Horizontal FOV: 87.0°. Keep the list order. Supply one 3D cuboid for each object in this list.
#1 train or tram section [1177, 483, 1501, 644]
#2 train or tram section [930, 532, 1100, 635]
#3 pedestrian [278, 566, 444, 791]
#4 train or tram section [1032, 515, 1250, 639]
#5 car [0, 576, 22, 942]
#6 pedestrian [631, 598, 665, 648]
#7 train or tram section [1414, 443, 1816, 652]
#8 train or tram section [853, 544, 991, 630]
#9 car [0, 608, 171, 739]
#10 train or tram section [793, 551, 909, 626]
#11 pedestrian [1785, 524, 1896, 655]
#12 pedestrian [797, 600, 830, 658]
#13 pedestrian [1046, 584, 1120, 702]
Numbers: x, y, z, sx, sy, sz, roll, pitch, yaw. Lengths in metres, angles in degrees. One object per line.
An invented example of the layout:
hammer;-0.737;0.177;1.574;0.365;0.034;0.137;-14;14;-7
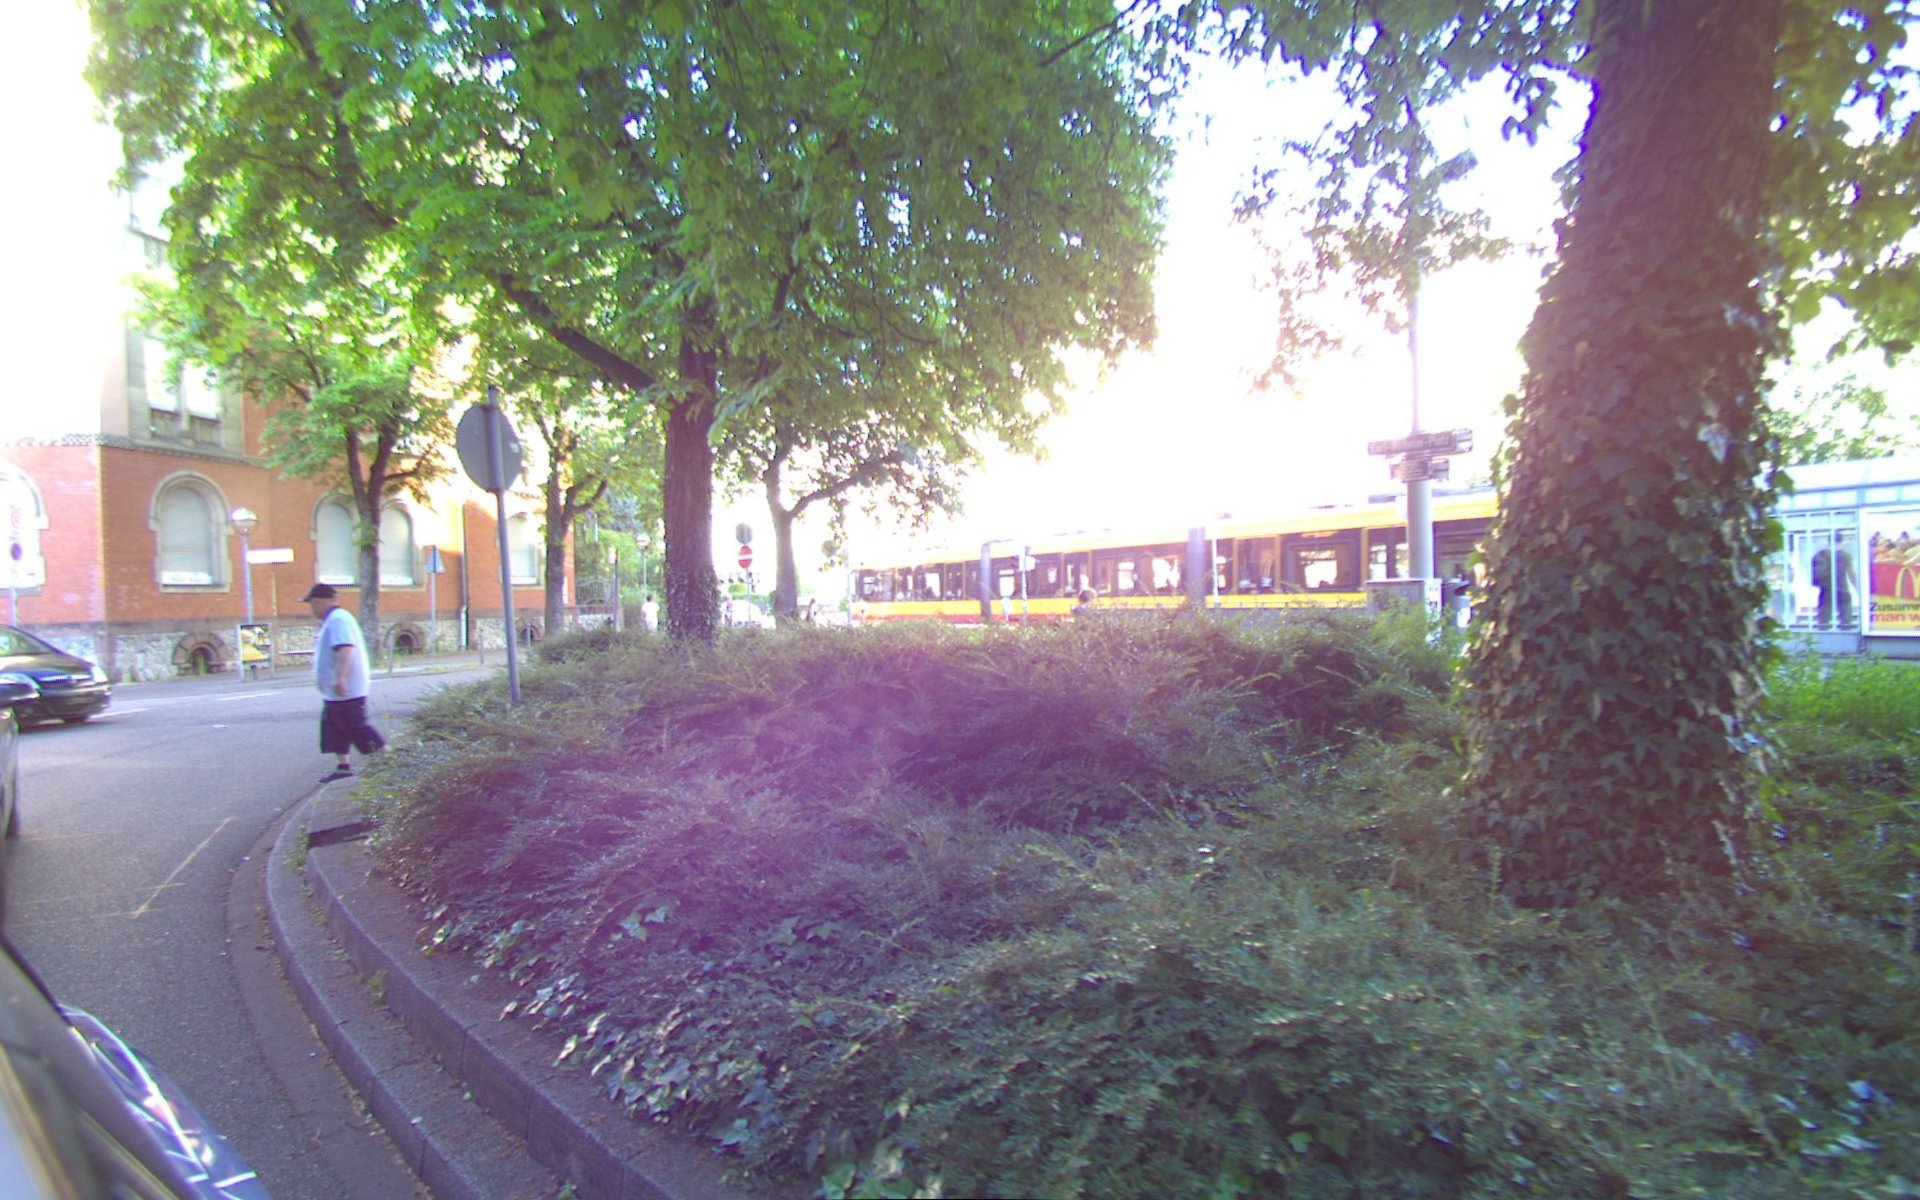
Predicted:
train or tram section;9.693;-0.806;27.011;2.873;3.641;7.882;-2;0;-32
train or tram section;1.957;-0.621;39.552;2.890;3.617;7.210;-3;1;-32
pedestrian;-4.833;0.606;8.228;0.769;1.696;0.919;-2;0;0
train or tram section;5.738;-0.688;33.400;2.885;3.626;7.210;-3;1;-32
car;-6.072;0.719;5.072;1.896;1.618;4.522;-2;0;-42
pedestrian;-10.517;0.770;34.096;0.846;1.655;0.872;-2;0;-30
train or tram section;13.333;-0.913;21.196;2.873;3.668;6.365;-2;0;-32
train or tram section;-1.856;-0.566;45.679;2.923;3.533;7.210;-3;1;-32
car;-13.975;1.035;14.155;4.199;1.605;2.002;-2;2;-3
train or tram section;-5.710;-0.570;51.746;2.923;3.533;7.210;-3;1;-32
pedestrian;13.457;-0.158;15.484;0.897;1.912;1.023;-2;0;-32
pedestrian;-4.160;0.811;28.664;0.841;1.617;0.603;-2;0;-11
pedestrian;1.832;0.623;15.020;0.814;1.696;0.892;-2;0;24
